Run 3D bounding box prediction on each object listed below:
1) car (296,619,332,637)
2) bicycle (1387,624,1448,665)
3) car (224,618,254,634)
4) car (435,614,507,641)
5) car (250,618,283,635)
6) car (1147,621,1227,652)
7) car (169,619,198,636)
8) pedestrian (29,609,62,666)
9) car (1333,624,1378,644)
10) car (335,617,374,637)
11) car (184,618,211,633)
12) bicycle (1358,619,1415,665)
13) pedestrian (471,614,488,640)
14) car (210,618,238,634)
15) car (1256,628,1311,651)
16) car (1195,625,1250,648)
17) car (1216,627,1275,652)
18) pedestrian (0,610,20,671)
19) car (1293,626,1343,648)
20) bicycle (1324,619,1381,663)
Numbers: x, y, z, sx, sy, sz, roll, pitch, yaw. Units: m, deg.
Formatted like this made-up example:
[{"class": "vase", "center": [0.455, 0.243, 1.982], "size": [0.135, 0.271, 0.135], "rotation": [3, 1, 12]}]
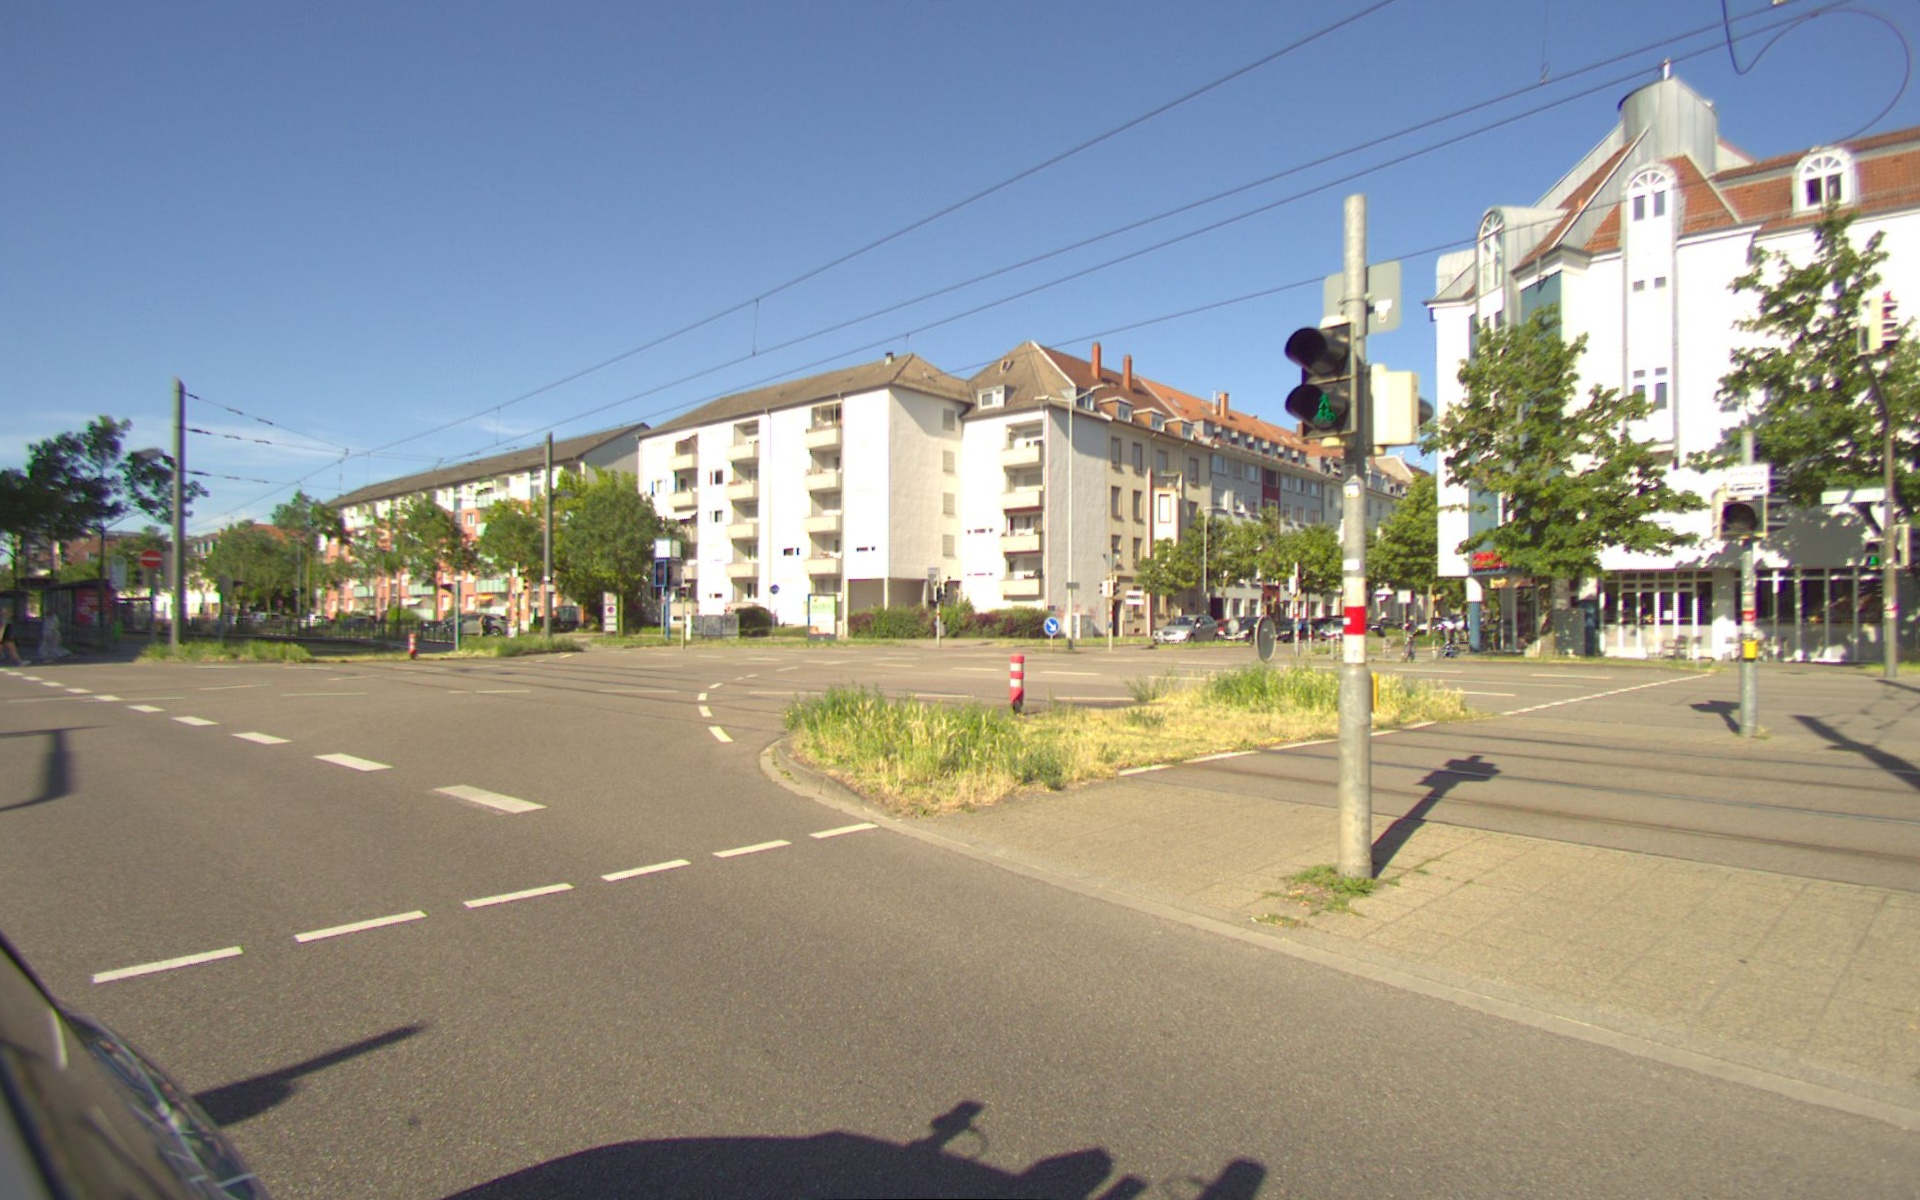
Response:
[{"class": "car", "center": [-60.316, 2.606, 94.435], "size": [4.239, 1.723, 1.671], "rotation": [-1, -2, 41]}, {"class": "bicycle", "center": [13.520, 1.297, 29.843], "size": [0.784, 1.168, 2.542], "rotation": [-2, -2, 45]}, {"class": "car", "center": [-79.375, 2.861, 111.396], "size": [4.239, 1.723, 1.671], "rotation": [-1, -2, 41]}, {"class": "car", "center": [-32.733, 1.832, 67.880], "size": [4.168, 1.723, 1.699], "rotation": [0, -2, -18]}, {"class": "car", "center": [-71.815, 2.747, 104.799], "size": [4.239, 1.723, 1.809], "rotation": [-1, -2, 41]}, {"class": "car", "center": [11.477, 1.820, 51.073], "size": [2.332, 1.476, 4.133], "rotation": [-1, -2, 39]}, {"class": "car", "center": [-82.445, 2.912, 107.455], "size": [4.239, 1.723, 1.671], "rotation": [-1, -2, 41]}, {"class": "pedestrian", "center": [-28.207, 1.150, 31.218], "size": [0.722, 1.710, 0.736], "rotation": [1, -2, -43]}, {"class": "car", "center": [27.163, 2.316, 69.520], "size": [1.701, 1.320, 4.035], "rotation": [-1, -2, 39]}, {"class": "car", "center": [-52.452, 2.346, 87.690], "size": [4.239, 1.723, 1.671], "rotation": [-1, -2, 41]}, {"class": "car", "center": [-92.438, 3.069, 122.644], "size": [4.402, 1.723, 1.671], "rotation": [-1, -2, 41]}, {"class": "bicycle", "center": [12.903, 1.247, 30.583], "size": [0.663, 1.319, 2.542], "rotation": [-2, -2, 45]}, {"class": "pedestrian", "center": [-31.869, 1.798, 67.113], "size": [0.703, 1.724, 0.776], "rotation": [-2, -2, 41]}, {"class": "car", "center": [-83.451, 2.936, 114.742], "size": [4.402, 1.723, 1.671], "rotation": [-1, -2, 41]}, {"class": "car", "center": [19.096, 2.314, 59.638], "size": [1.701, 1.320, 4.035], "rotation": [-1, -2, 39]}, {"class": "car", "center": [15.937, 2.185, 61.399], "size": [1.701, 1.320, 4.035], "rotation": [-1, -2, 39]}, {"class": "car", "center": [15.854, 2.155, 56.063], "size": [1.701, 1.320, 4.035], "rotation": [-1, -2, 39]}, {"class": "pedestrian", "center": [-27.061, 1.137, 28.603], "size": [0.712, 1.710, 0.609], "rotation": [1, -2, -43]}, {"class": "car", "center": [22.809, 2.331, 64.372], "size": [1.701, 1.320, 4.035], "rotation": [-1, -2, 39]}, {"class": "bicycle", "center": [12.172, 1.255, 31.347], "size": [0.663, 1.319, 2.542], "rotation": [-2, -2, 45]}]
